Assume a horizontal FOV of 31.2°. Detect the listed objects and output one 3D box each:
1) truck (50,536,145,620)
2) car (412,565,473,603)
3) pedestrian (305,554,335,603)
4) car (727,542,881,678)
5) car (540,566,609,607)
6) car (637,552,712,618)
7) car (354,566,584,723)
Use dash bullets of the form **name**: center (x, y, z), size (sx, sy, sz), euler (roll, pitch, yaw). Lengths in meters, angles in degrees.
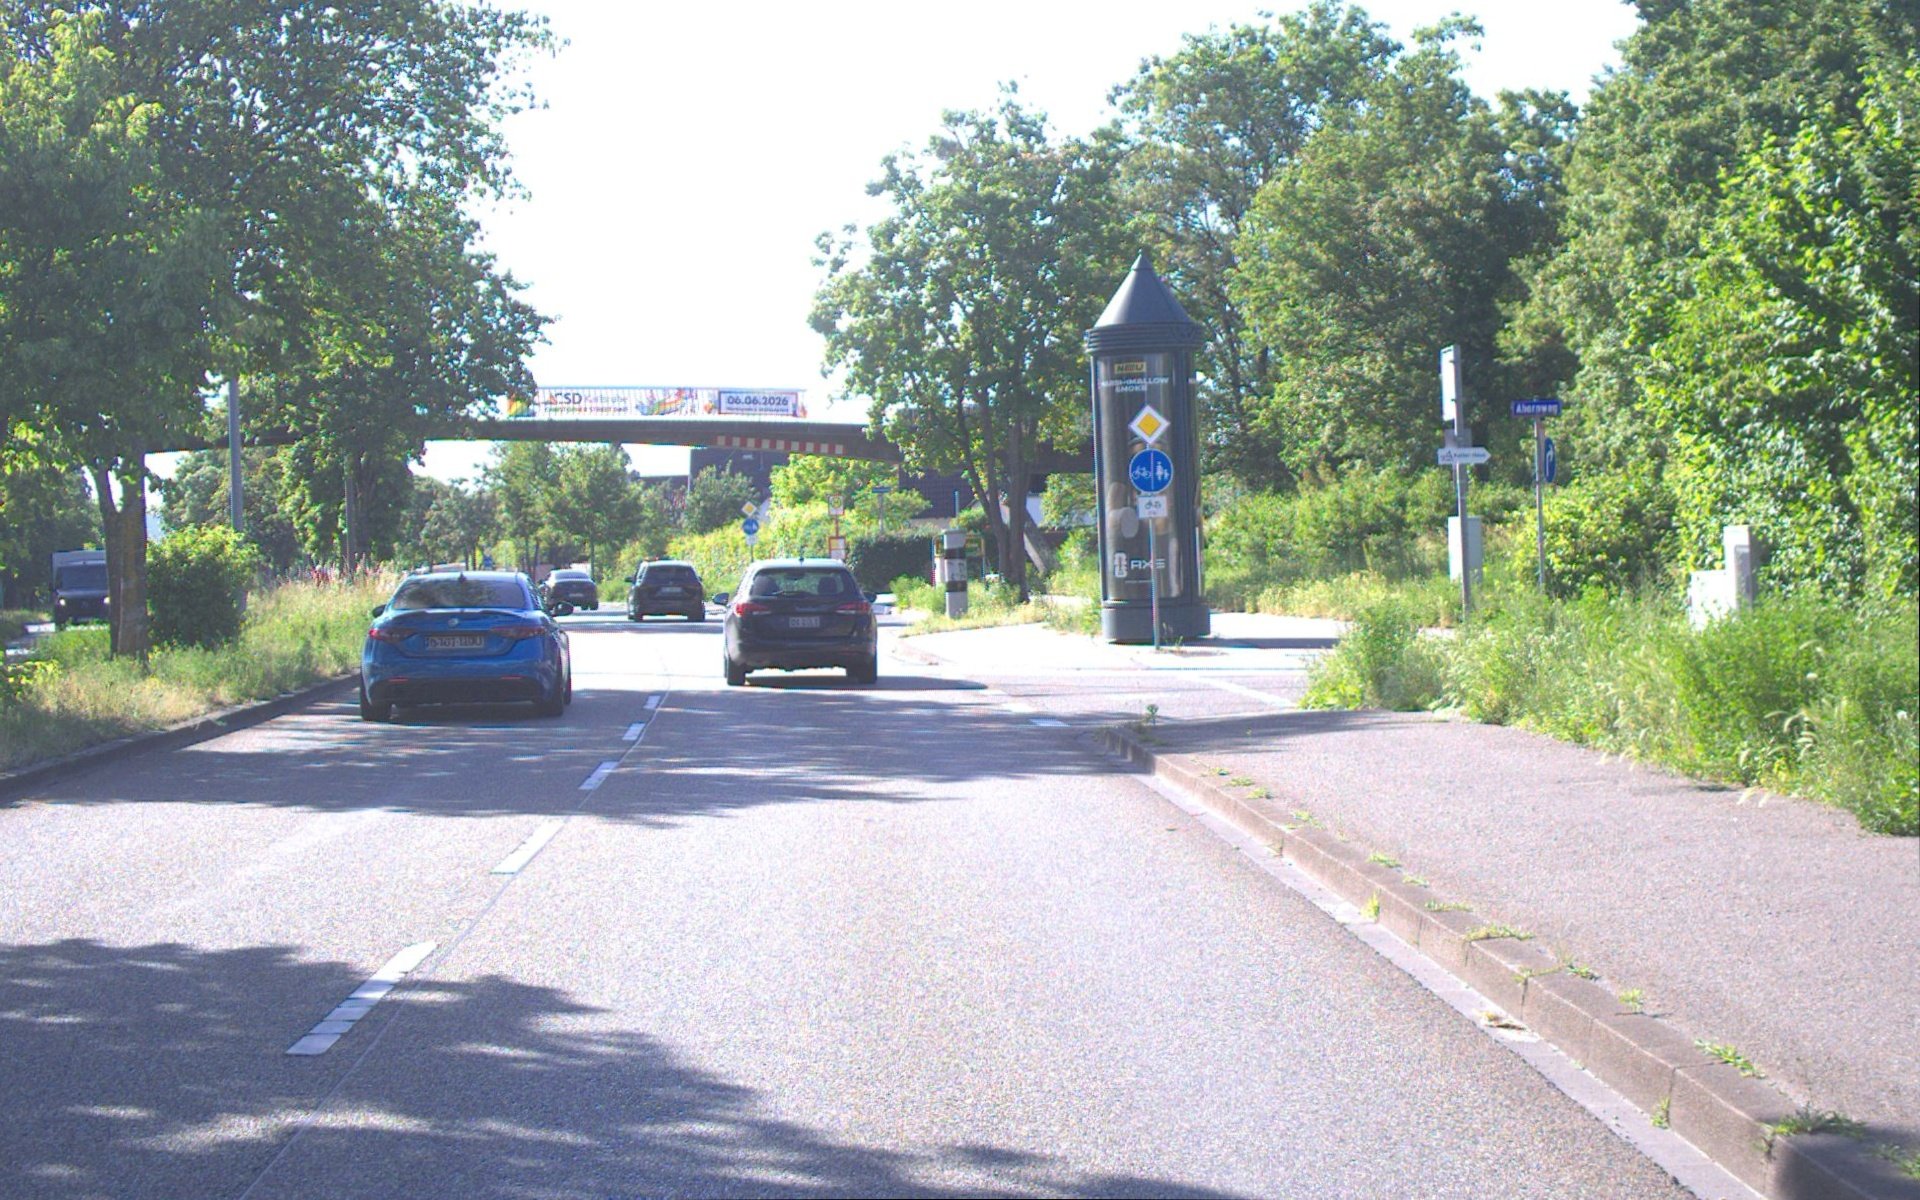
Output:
- **truck**: center (-28.007, -0.733, 111.788), size (2.172, 2.504, 5.743), euler (-4, 1, -7)
- **car**: center (-19.322, -0.605, 128.322), size (1.898, 1.351, 4.001), euler (-2, 1, -13)
- **pedestrian**: center (-22.617, -0.768, 121.580), size (0.631, 1.691, 0.942), euler (-1, 1, 17)
- **car**: center (-1.891, 0.126, 41.196), size (1.760, 1.554, 4.000), euler (0, 0, -3)
- **car**: center (-13.723, -0.492, 122.200), size (1.898, 1.351, 4.001), euler (-2, 1, -13)
- **car**: center (-7.334, -0.410, 88.056), size (1.743, 1.592, 4.176), euler (-1, 1, -7)
- **car**: center (-4.757, 0.391, 33.808), size (1.994, 1.400, 4.001), euler (-1, 1, -5)
